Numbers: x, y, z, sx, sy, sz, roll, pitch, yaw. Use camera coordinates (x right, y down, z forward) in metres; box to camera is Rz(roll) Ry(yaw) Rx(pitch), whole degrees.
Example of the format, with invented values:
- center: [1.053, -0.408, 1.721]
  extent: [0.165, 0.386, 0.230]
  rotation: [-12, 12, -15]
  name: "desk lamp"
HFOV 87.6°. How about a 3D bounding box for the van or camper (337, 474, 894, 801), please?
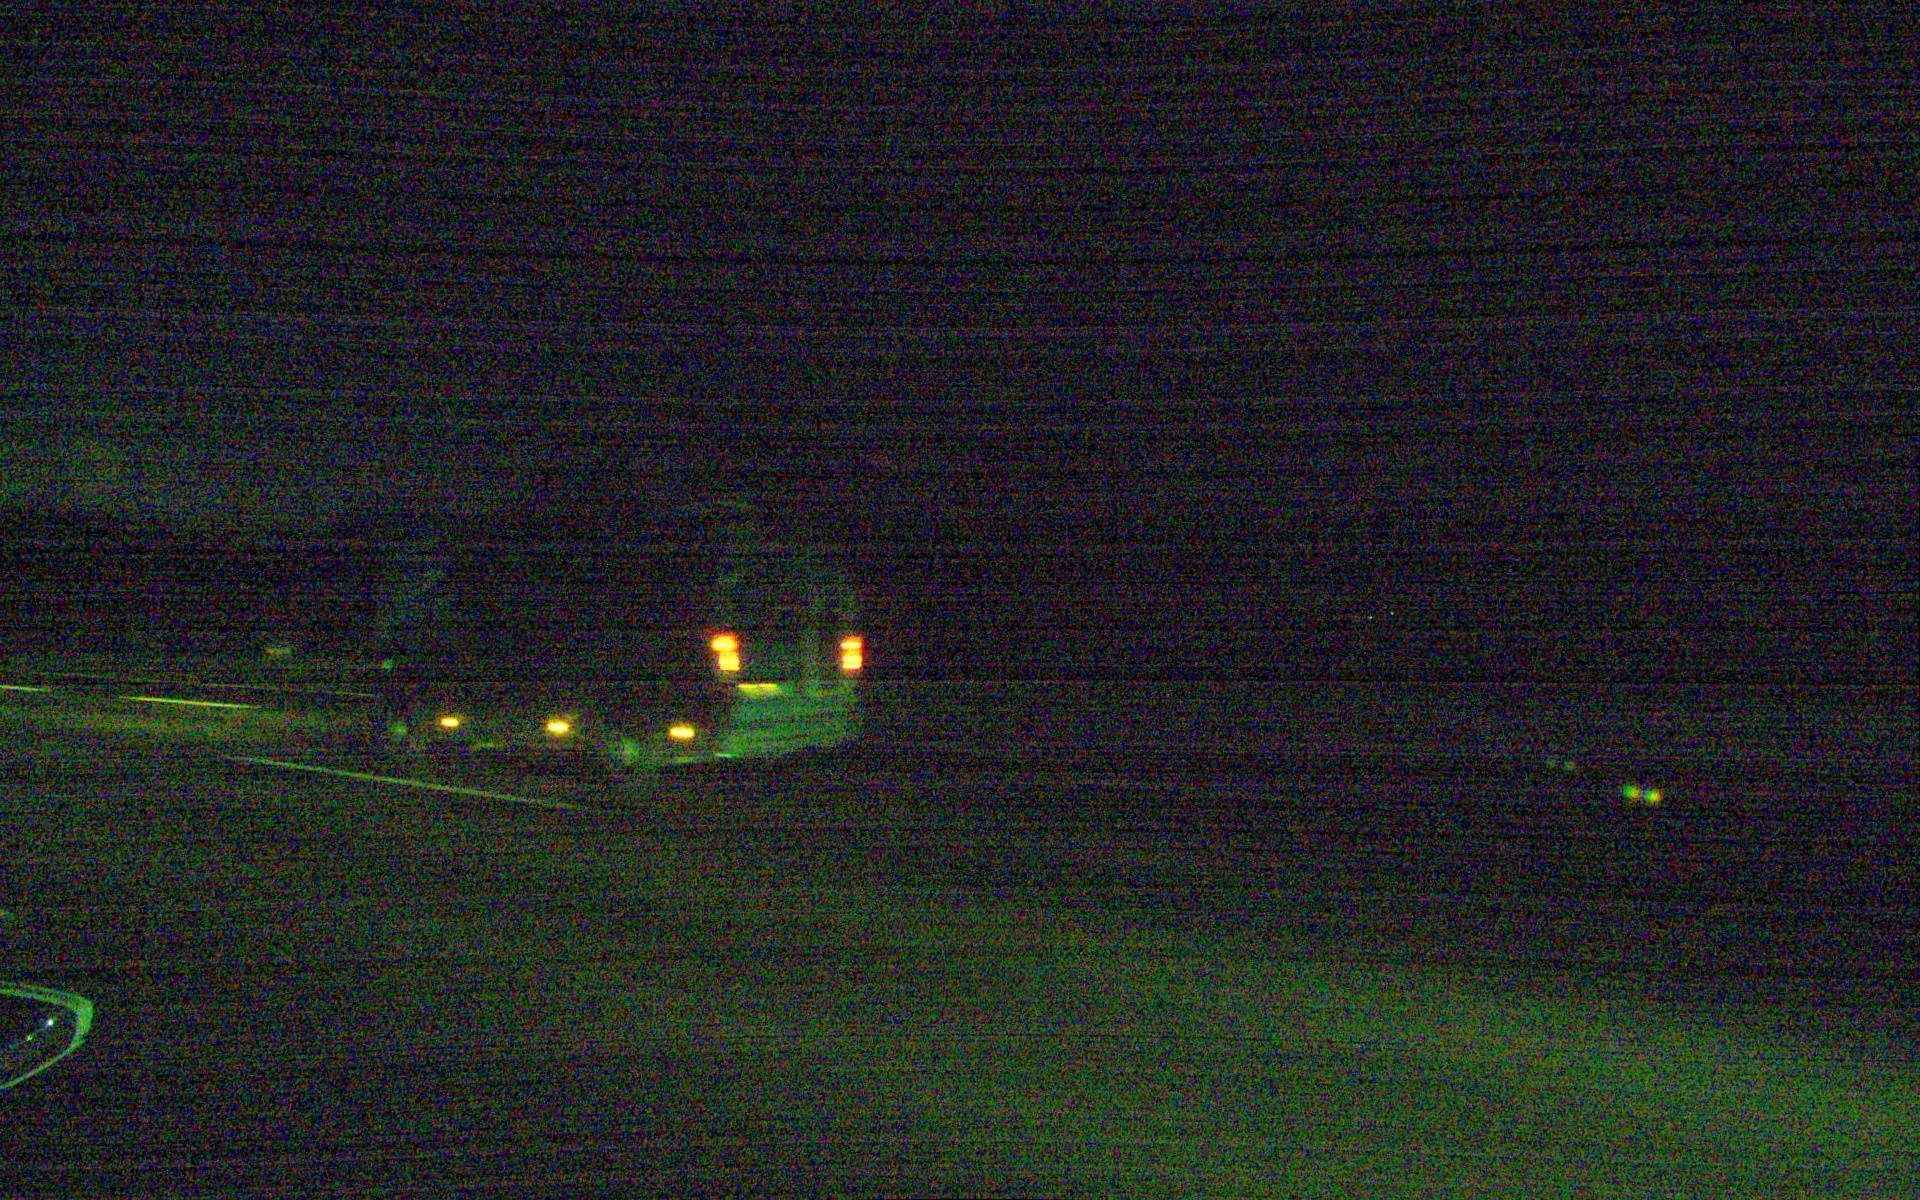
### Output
- center: [-4.112, 0.377, 11.315]
  extent: [6.705, 2.807, 2.204]
  rotation: [0, -1, 32]
  name: "van or camper"
